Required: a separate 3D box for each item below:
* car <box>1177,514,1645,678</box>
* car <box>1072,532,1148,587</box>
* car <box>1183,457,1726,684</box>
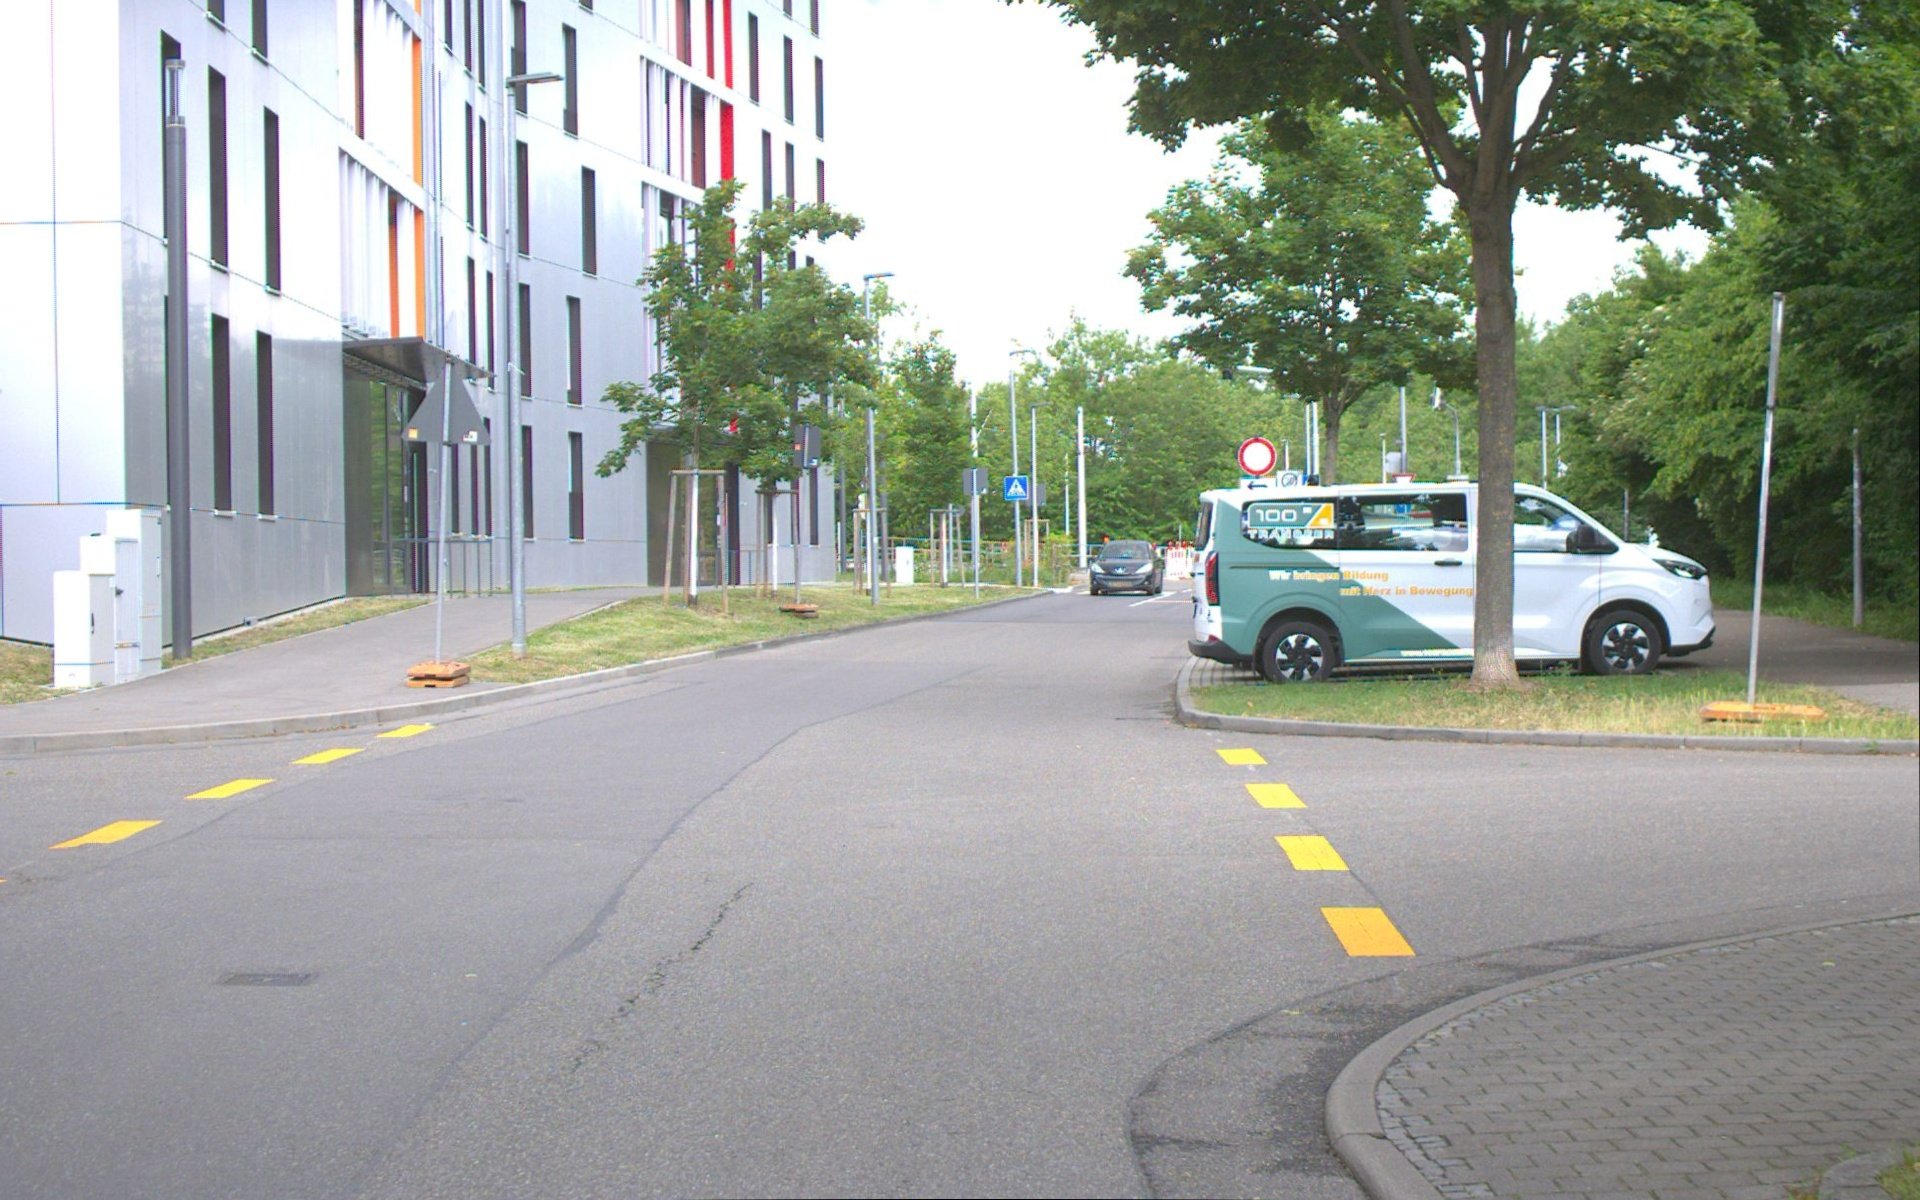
[{"bbox_3d":[4.677,-0.056,36.091,4.704,1.511,1.846,-2,1,5],"label":"car"},{"bbox_3d":[3.911,-1.067,89.215,1.609,1.383,3.999,1,1,7],"label":"car"},{"bbox_3d":[4.737,-0.295,33.460,4.972,1.965,1.847,-2,1,1],"label":"car"}]
